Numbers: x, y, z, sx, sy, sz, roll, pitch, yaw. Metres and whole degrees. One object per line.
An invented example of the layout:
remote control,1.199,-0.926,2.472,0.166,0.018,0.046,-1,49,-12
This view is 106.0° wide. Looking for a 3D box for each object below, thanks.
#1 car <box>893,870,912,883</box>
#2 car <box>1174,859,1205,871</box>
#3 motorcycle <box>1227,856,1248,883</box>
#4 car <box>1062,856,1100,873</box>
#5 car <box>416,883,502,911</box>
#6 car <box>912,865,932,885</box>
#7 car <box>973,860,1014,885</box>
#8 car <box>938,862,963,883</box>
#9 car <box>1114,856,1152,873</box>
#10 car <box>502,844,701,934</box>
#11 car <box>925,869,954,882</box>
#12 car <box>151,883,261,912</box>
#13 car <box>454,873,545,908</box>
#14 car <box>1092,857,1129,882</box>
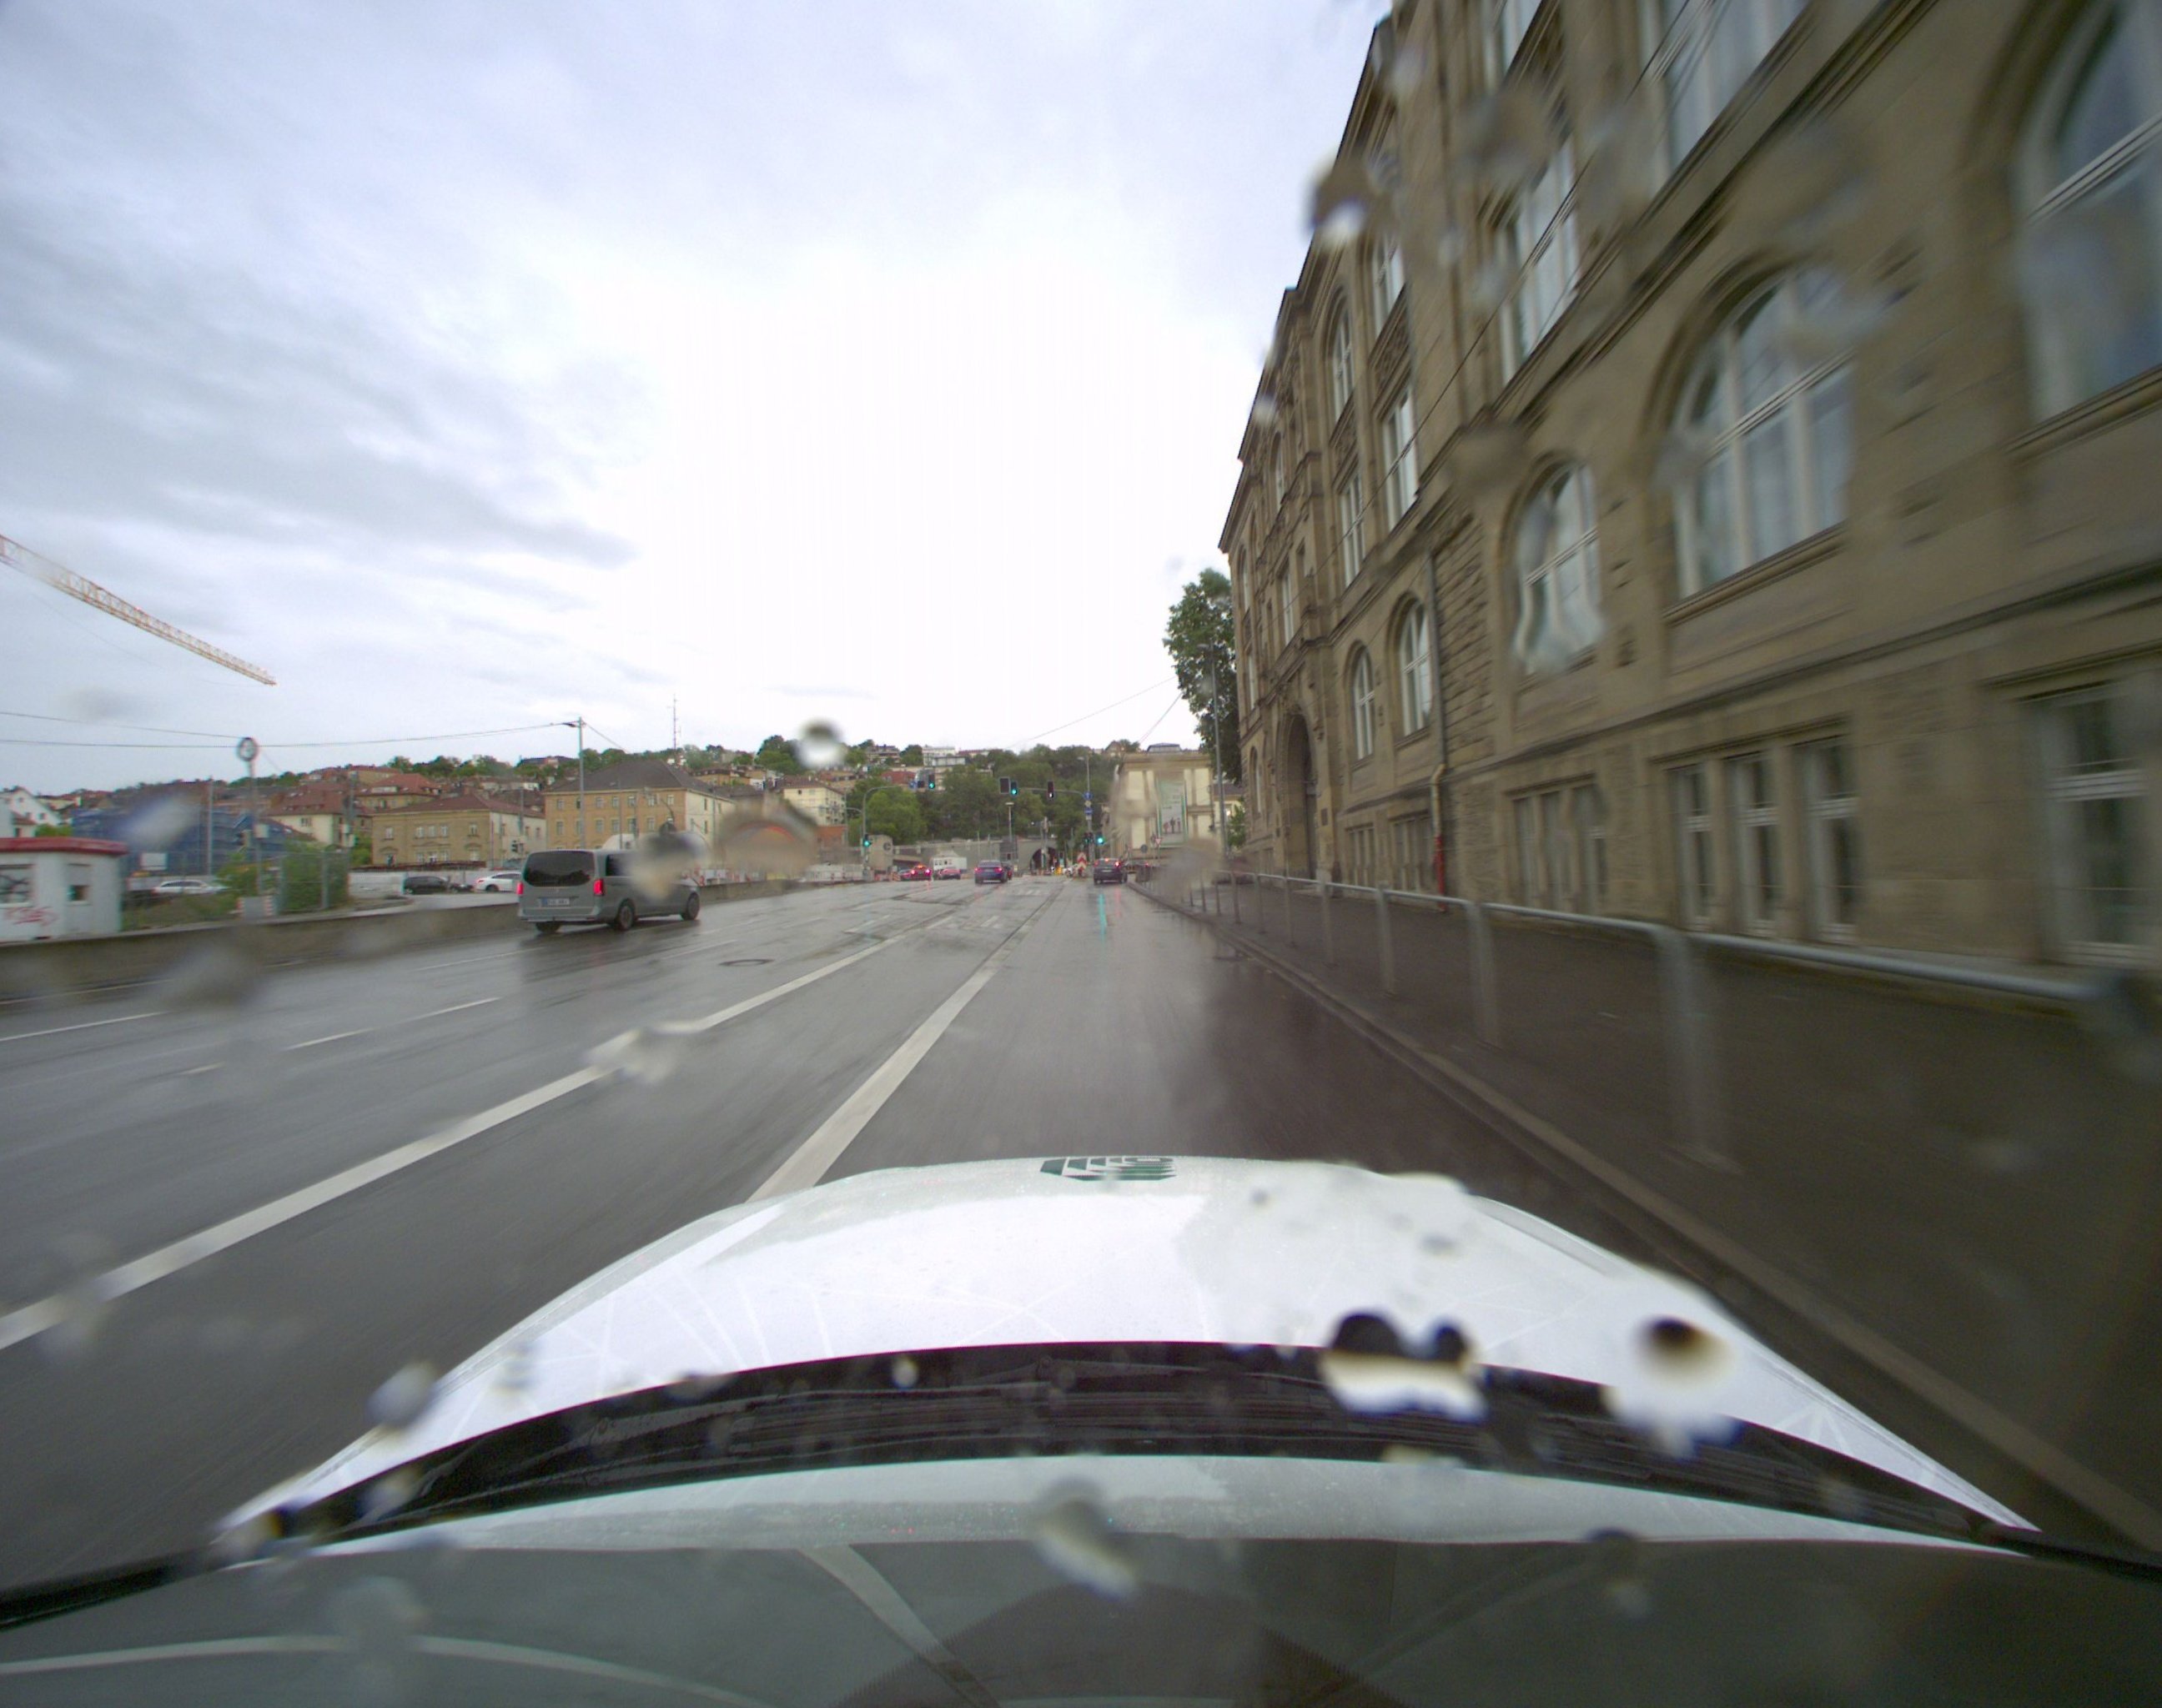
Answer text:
car,-20.820,2.609,94.950,1.781,1.464,3.975,-1,0,-18
car,15.474,1.567,116.578,4.167,1.701,1.822,-1,0,0
motorcycle,6.908,0.688,36.069,0.544,1.138,1.898,-2,-1,0
car,0.011,1.284,102.676,4.618,2.013,1.997,-1,0,-5
car,-44.141,3.033,57.899,4.430,1.717,1.984,-2,-1,-25
car,-14.812,1.935,75.781,1.777,1.750,3.984,-1,0,-12
car,-5.514,1.146,51.698,1.986,1.438,4.001,-2,0,1
car,-13.301,1.843,82.859,1.997,2.013,4.272,-1,0,-15
car,6.583,1.264,103.306,4.666,2.013,1.997,-1,0,-5
car,-11.162,0.783,19.443,1.987,1.839,4.681,-1,-1,-1
car,-16.898,2.501,97.231,1.790,1.464,3.955,-1,0,-37
car,-57.726,2.855,53.819,4.515,1.557,1.991,-2,-1,-13
car,-37.830,2.338,53.112,4.430,2.013,1.984,-2,-1,-25
car,1.778,0.879,47.909,1.659,1.427,3.768,0,0,10
